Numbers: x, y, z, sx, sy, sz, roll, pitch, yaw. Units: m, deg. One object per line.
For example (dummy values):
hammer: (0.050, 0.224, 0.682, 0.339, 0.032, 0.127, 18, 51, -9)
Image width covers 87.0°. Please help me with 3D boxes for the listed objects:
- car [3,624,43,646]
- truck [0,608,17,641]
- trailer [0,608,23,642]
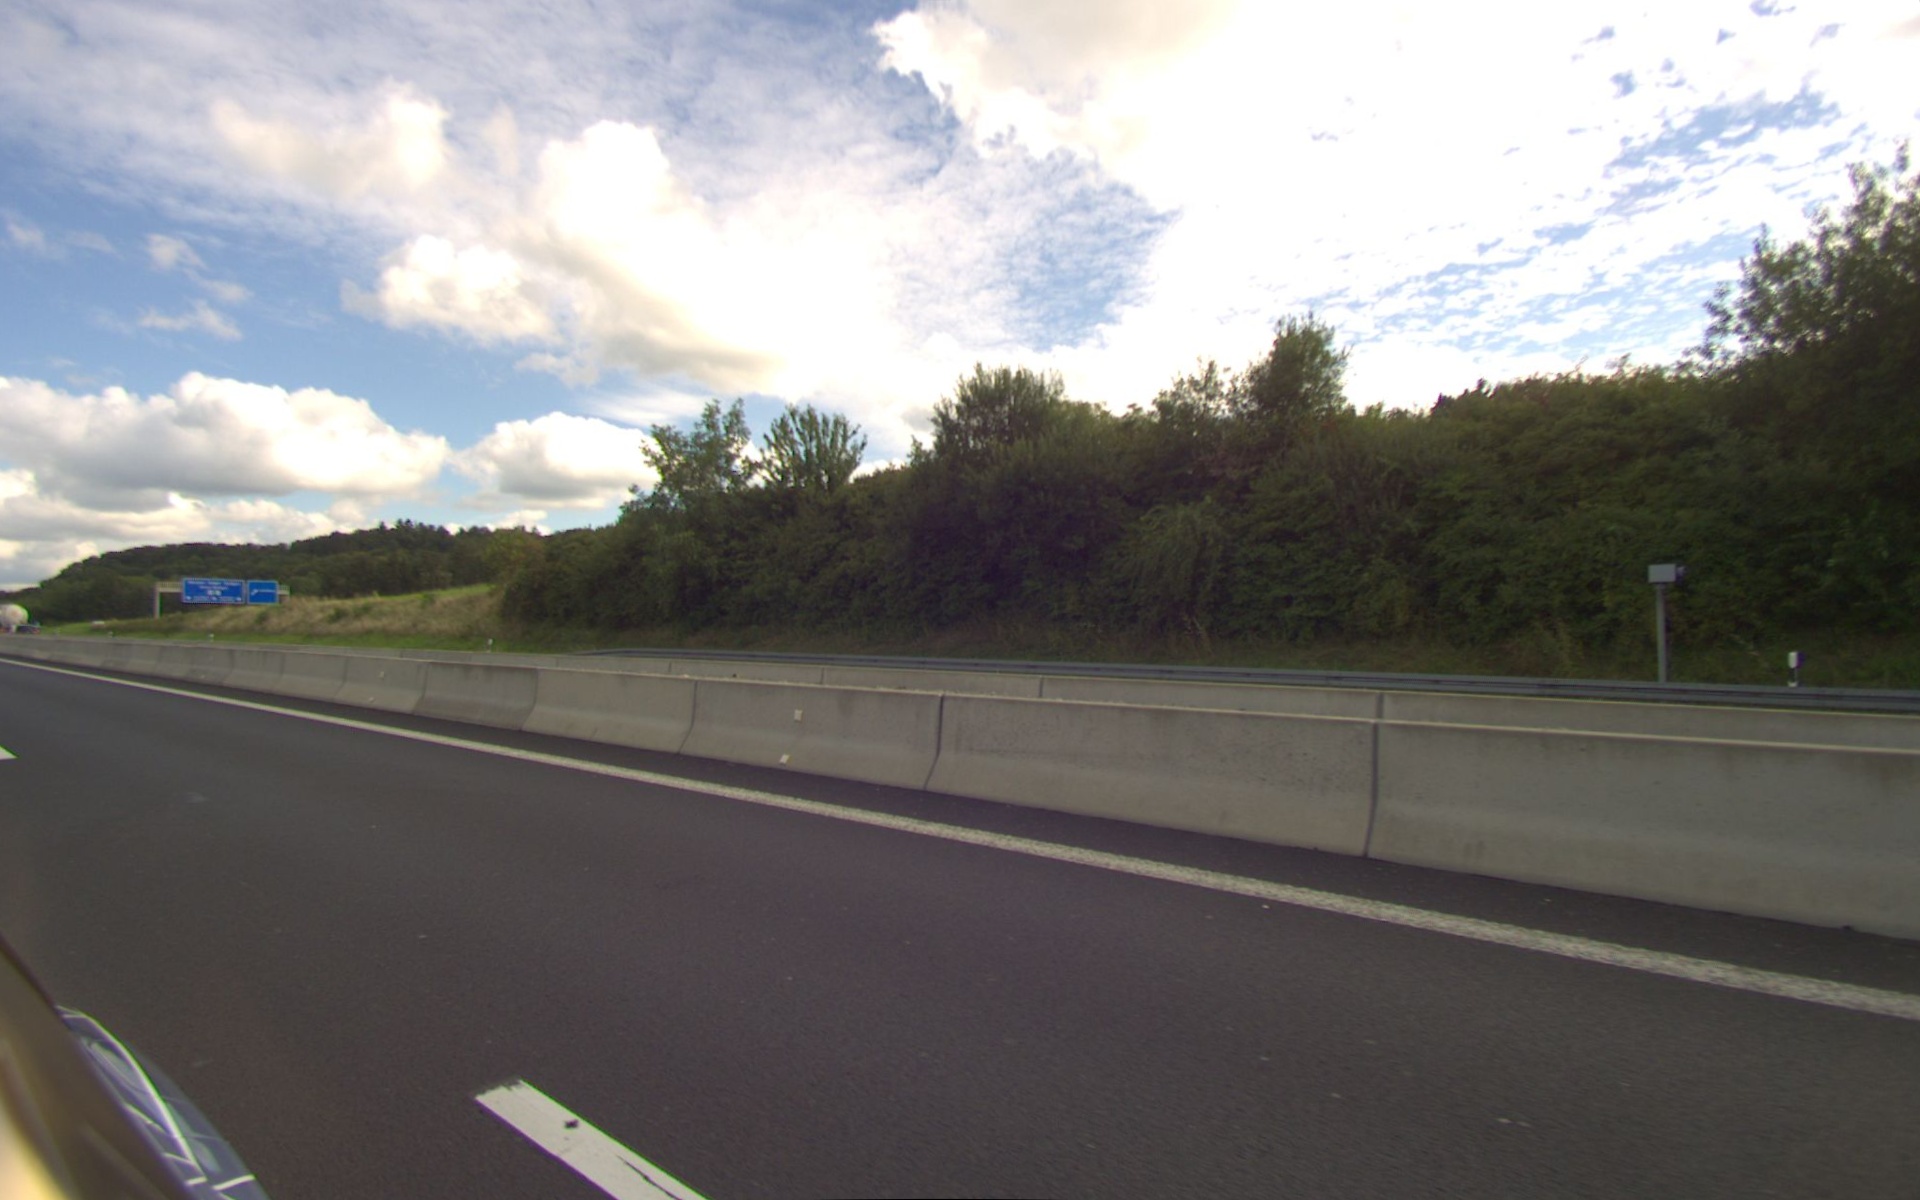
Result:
car: (-76.528, 2.840, 82.661, 3.998, 1.730, 1.972, -1, -3, 41)
truck: (-117.208, 3.008, 123.239, 6.899, 3.954, 2.708, -1, -3, 42)
trailer: (-113.901, 2.959, 120.220, 11.158, 3.916, 2.684, -1, -3, 42)
